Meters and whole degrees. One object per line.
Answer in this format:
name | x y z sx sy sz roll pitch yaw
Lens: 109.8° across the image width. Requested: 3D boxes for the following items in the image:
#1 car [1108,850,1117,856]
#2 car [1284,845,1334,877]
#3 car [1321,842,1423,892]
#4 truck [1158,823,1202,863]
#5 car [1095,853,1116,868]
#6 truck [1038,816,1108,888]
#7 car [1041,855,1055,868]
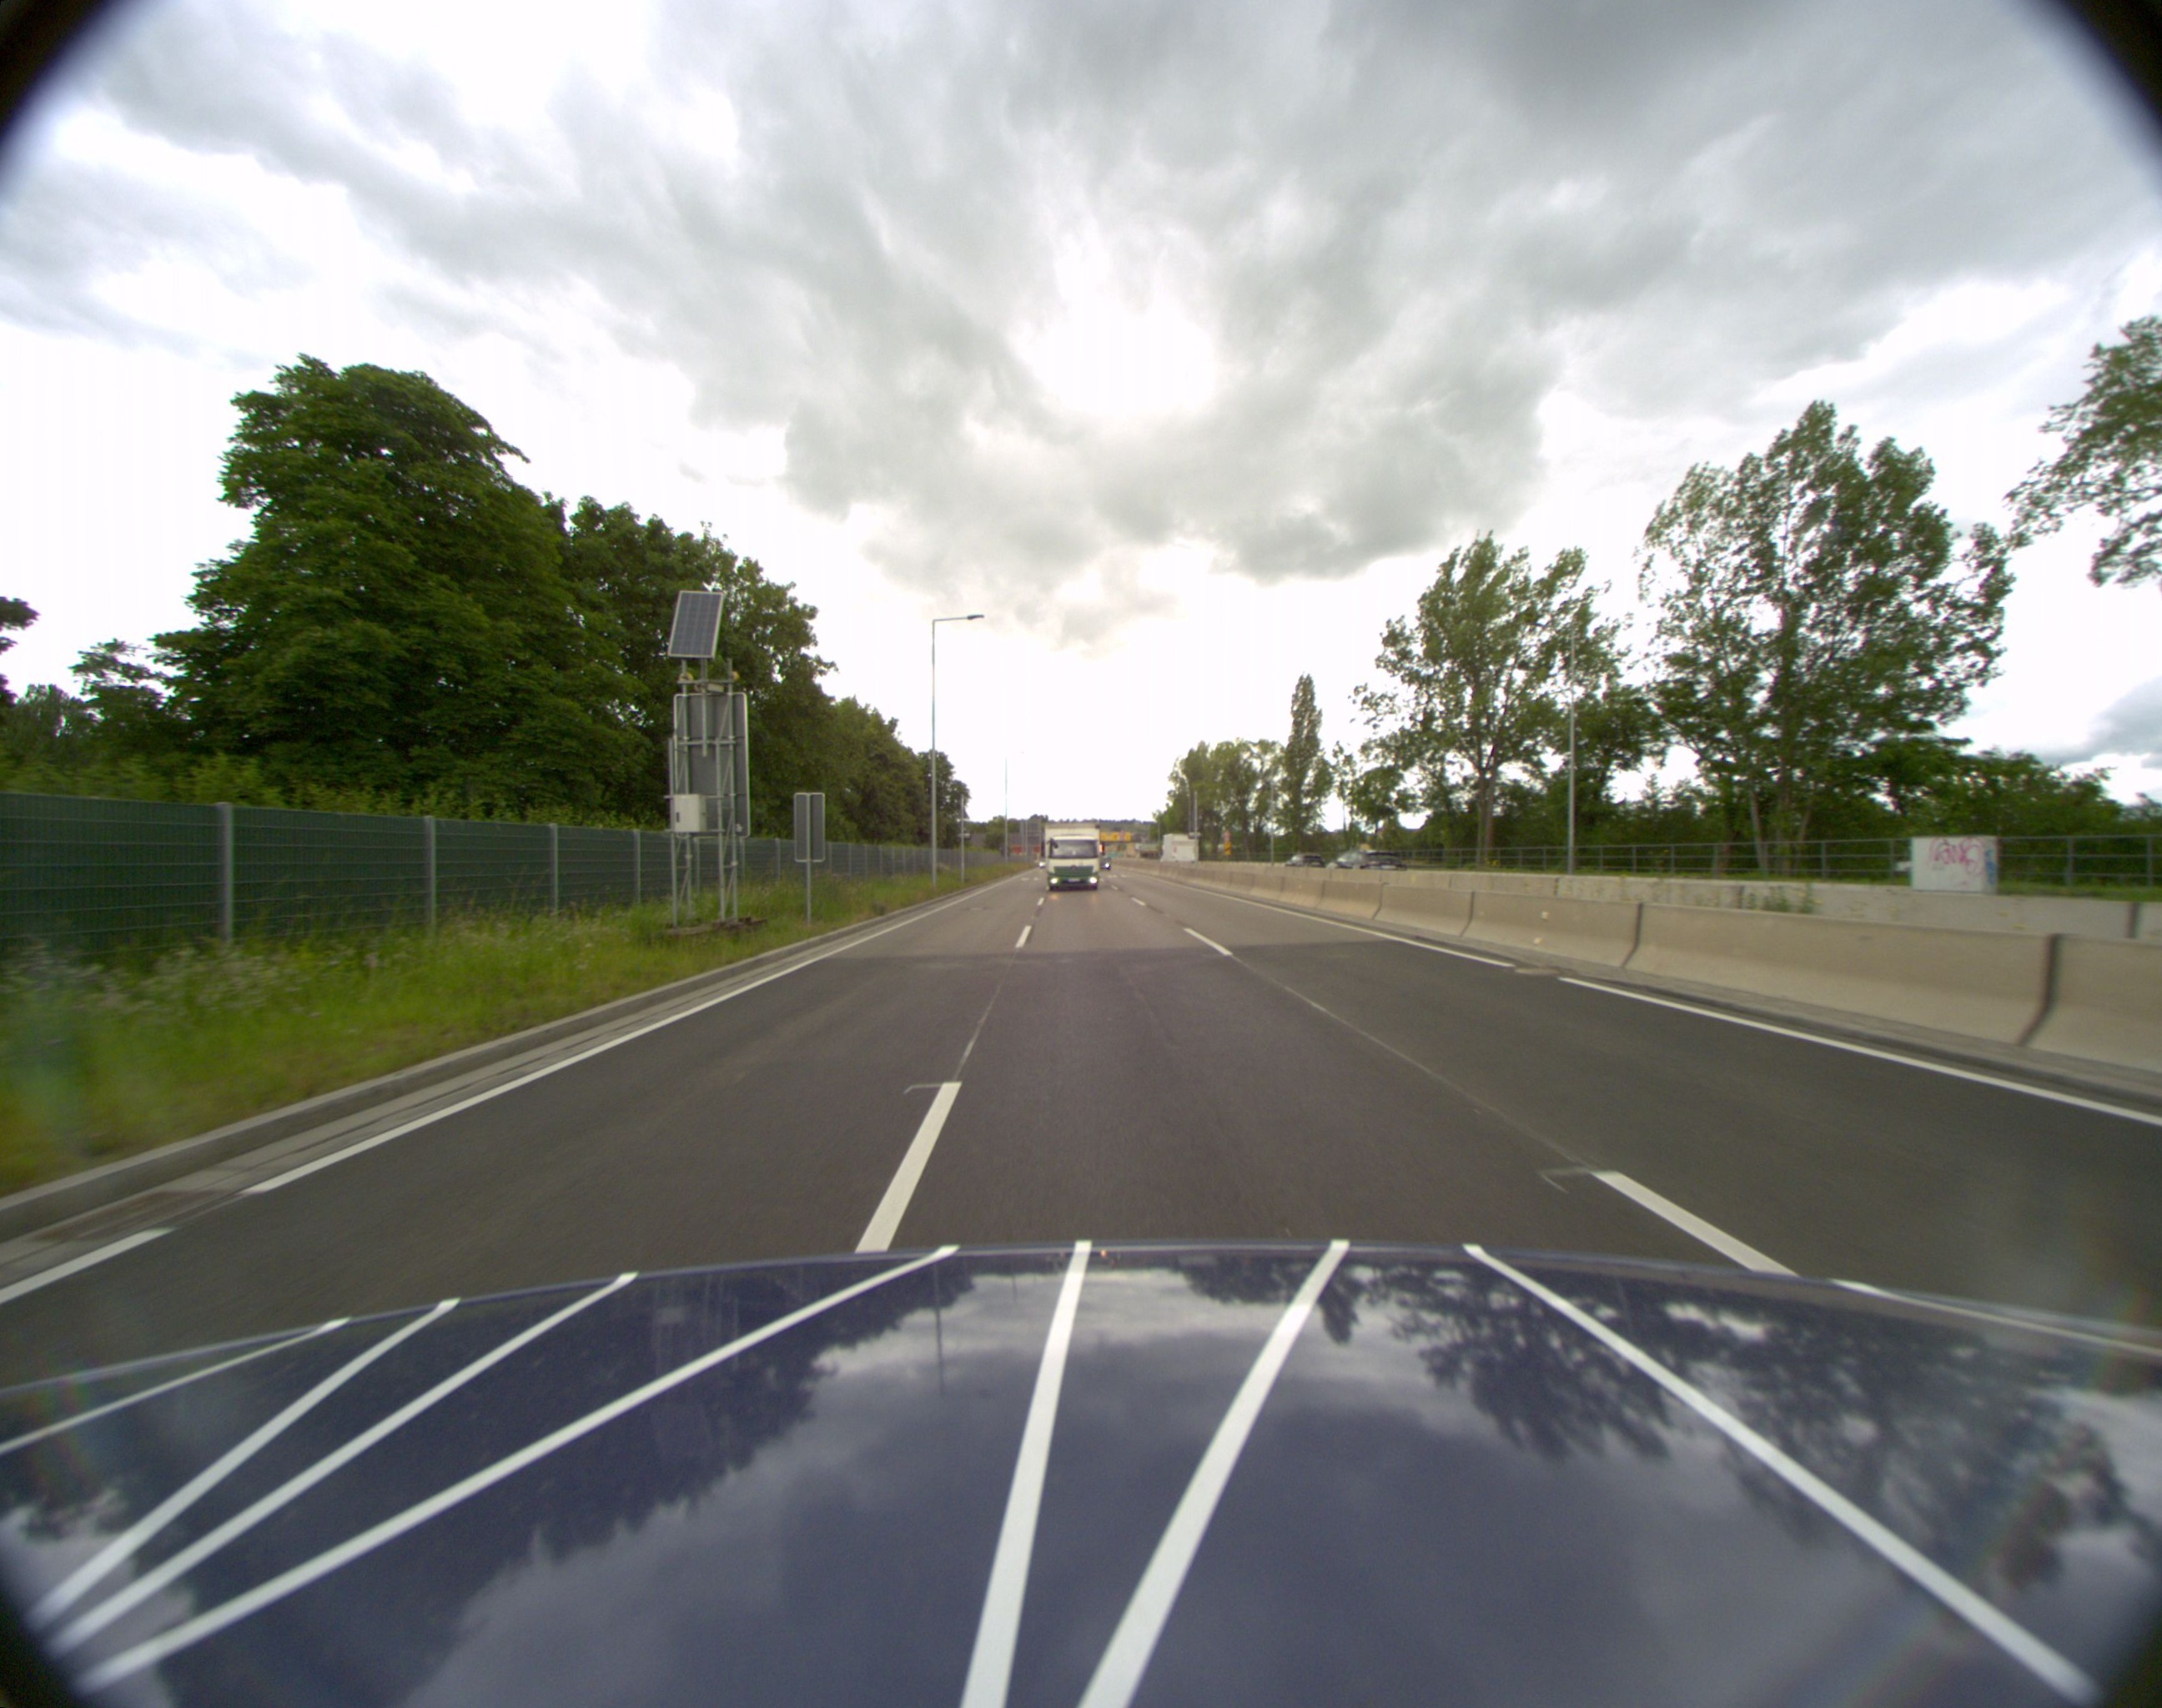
car | 9.700 -0.327 235.262 2.335 1.914 5.002 -3 0 -1
car | 15.152 0.440 50.744 1.999 2.002 3.999 -3 0 -1
car | 10.537 0.445 27.868 1.931 1.608 4.455 -3 0 -1
truck | 8.267 -0.846 64.257 2.410 3.089 7.200 -3 0 -2
car | 2.589 0.637 80.094 1.999 1.444 4.000 -3 0 -1
truck | -0.508 -0.085 37.708 2.943 3.064 8.385 -2 0 -2
car | -4.937 1.101 114.962 1.999 1.849 3.999 -3 0 -1
